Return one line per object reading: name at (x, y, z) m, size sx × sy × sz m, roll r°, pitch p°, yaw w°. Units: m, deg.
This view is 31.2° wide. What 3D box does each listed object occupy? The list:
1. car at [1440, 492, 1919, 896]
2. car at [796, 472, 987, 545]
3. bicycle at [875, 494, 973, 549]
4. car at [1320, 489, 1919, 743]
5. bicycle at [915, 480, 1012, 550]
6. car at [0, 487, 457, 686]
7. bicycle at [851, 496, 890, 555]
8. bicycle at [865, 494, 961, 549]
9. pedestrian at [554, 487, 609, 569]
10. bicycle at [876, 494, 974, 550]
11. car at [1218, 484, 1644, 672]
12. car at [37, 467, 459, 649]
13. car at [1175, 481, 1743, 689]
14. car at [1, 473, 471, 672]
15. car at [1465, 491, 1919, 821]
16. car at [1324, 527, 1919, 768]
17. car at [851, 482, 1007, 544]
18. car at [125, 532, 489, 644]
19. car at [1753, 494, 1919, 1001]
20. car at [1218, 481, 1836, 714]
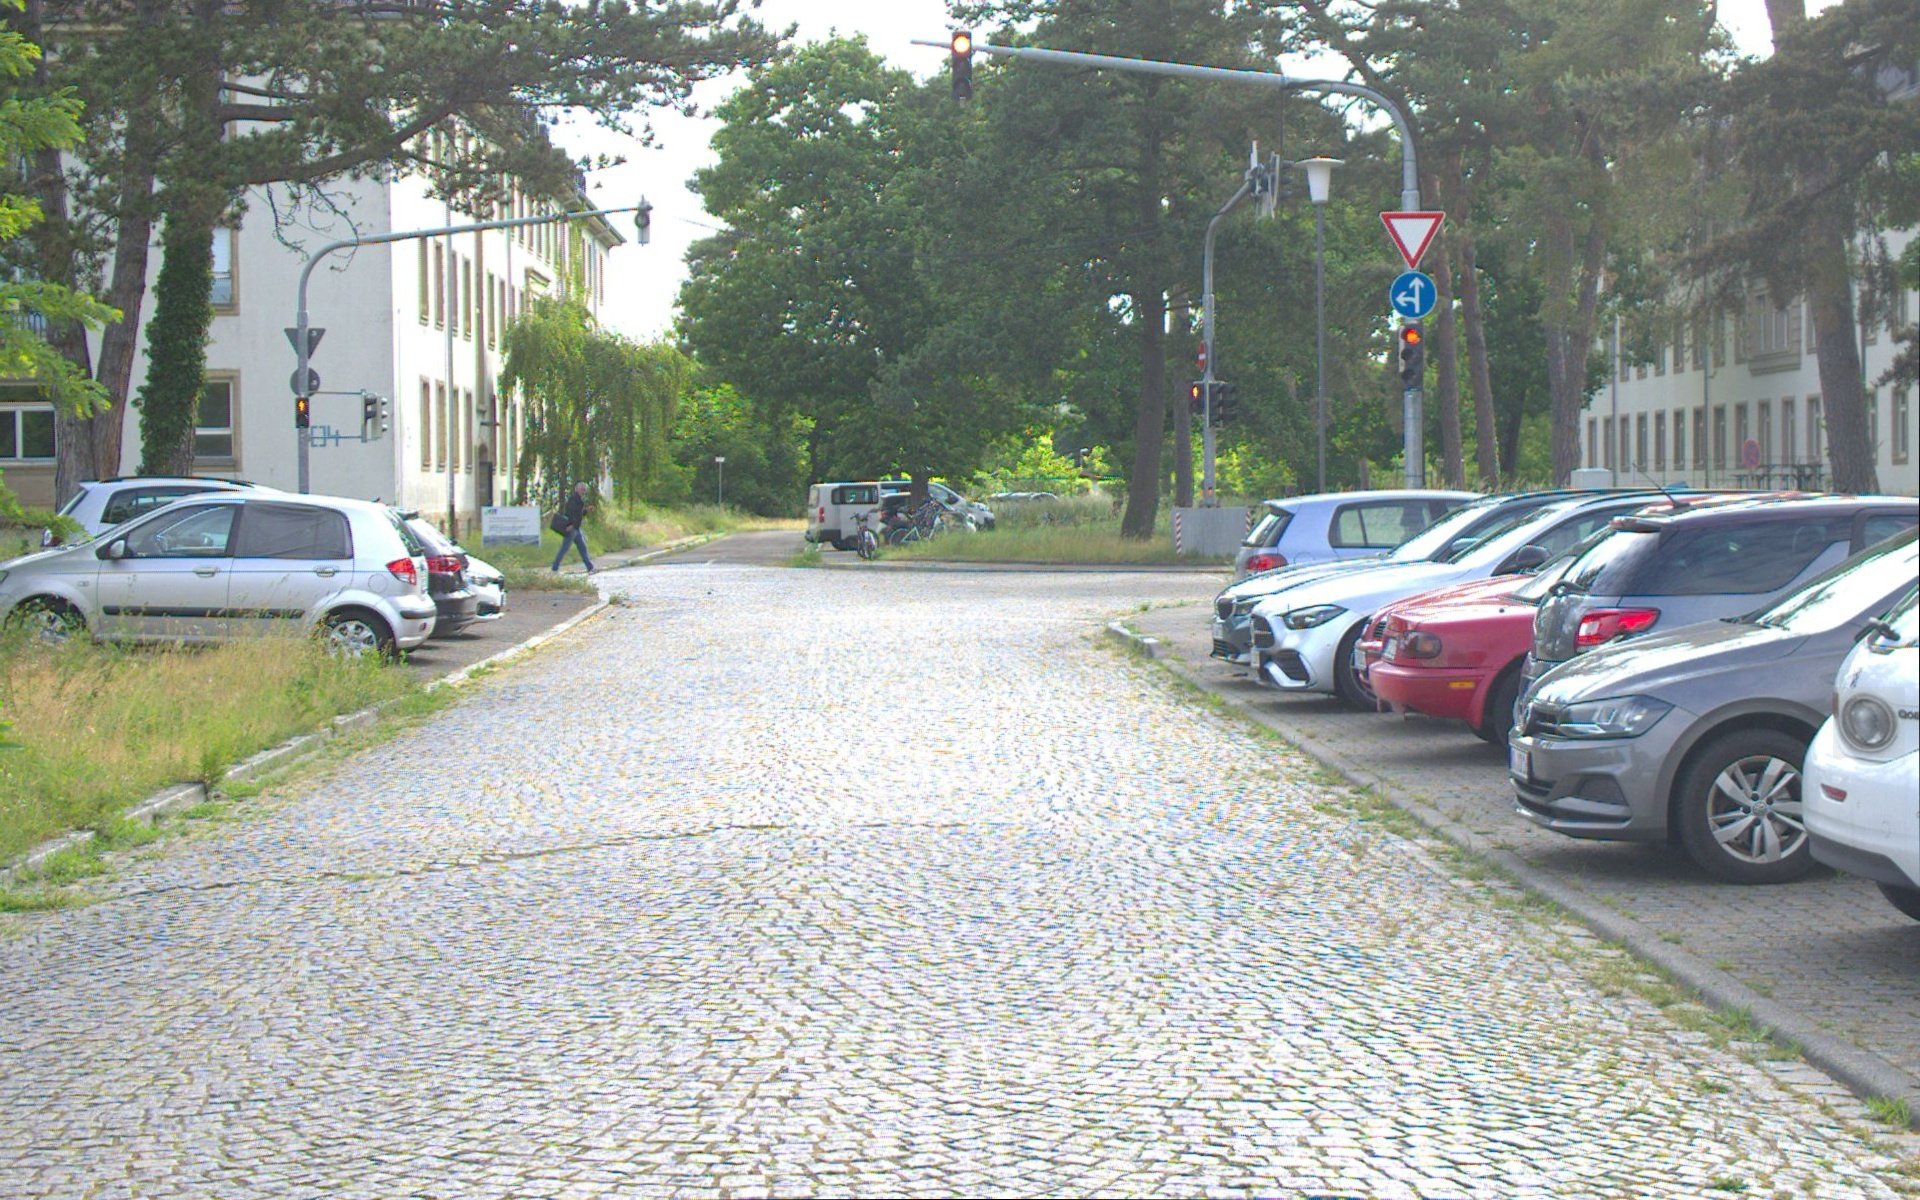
car at (3.974, 0.314, 14.165) m, size 3.597 × 1.501 × 1.665 m, roll -1°, pitch 2°, yaw -12°
car at (-1.926, -2.582, 96.274) m, size 5.049 × 2.006 × 2.001 m, roll 0°, pitch 2°, yaw -12°
bicycle at (-0.830, -1.808, 79.071) m, size 2.160 × 1.264 × 0.813 m, roll 0°, pitch 2°, yaw -8°
car at (4.447, 0.063, 22.016) m, size 3.986 × 1.538 × 1.664 m, roll 0°, pitch 2°, yaw -7°
bicycle at (0.080, -1.984, 79.798) m, size 2.160 × 1.610 × 0.813 m, roll 0°, pitch 2°, yaw -8°
car at (-6.215, -0.142, 28.572) m, size 3.986 × 1.546 × 2.001 m, roll -1°, pitch 2°, yaw -8°
bicycle at (-1.947, -1.633, 74.699) m, size 0.810 × 1.264 × 1.973 m, roll 0°, pitch 2°, yaw -1°
bicycle at (-1.104, -1.837, 80.278) m, size 2.160 × 1.264 × 0.813 m, roll 0°, pitch 2°, yaw -8°
pedestrian at (-6.918, -1.320, 62.887) m, size 0.898 × 1.493 × 0.904 m, roll 0°, pitch 2°, yaw -1°
bicycle at (-0.808, -1.795, 78.484) m, size 2.160 × 1.264 × 0.813 m, roll 0°, pitch 2°, yaw -8°
car at (4.029, -0.216, 29.623) m, size 3.388 × 1.538 × 1.391 m, roll -1°, pitch 2°, yaw -7°
car at (-6.998, -0.440, 34.143) m, size 3.986 × 1.744 × 1.928 m, roll 0°, pitch 2°, yaw -8°
car at (3.880, -0.147, 27.049) m, size 4.122 × 1.538 × 1.665 m, roll -1°, pitch 2°, yaw -7°
car at (-6.451, -0.284, 31.052) m, size 3.986 × 1.700 × 2.001 m, roll -1°, pitch 2°, yaw -8°
car at (4.358, 0.220, 17.052) m, size 3.291 × 1.499 × 1.665 m, roll -1°, pitch 2°, yaw -12°
car at (3.894, 0.237, 19.759) m, size 3.291 × 1.263 × 1.665 m, roll -1°, pitch 2°, yaw -7°
car at (-0.859, -2.366, 93.026) m, size 3.986 × 1.638 × 2.001 m, roll 0°, pitch 2°, yaw -7°
car at (-6.817, -0.145, 36.208) m, size 3.670 × 1.090 × 1.647 m, roll -1°, pitch 2°, yaw -8°
car at (4.443, 0.404, 11.186) m, size 3.292 × 1.499 × 1.664 m, roll -1°, pitch 2°, yaw -4°
car at (3.947, -0.054, 24.235) m, size 3.986 × 1.538 × 1.665 m, roll -1°, pitch 2°, yaw -7°
